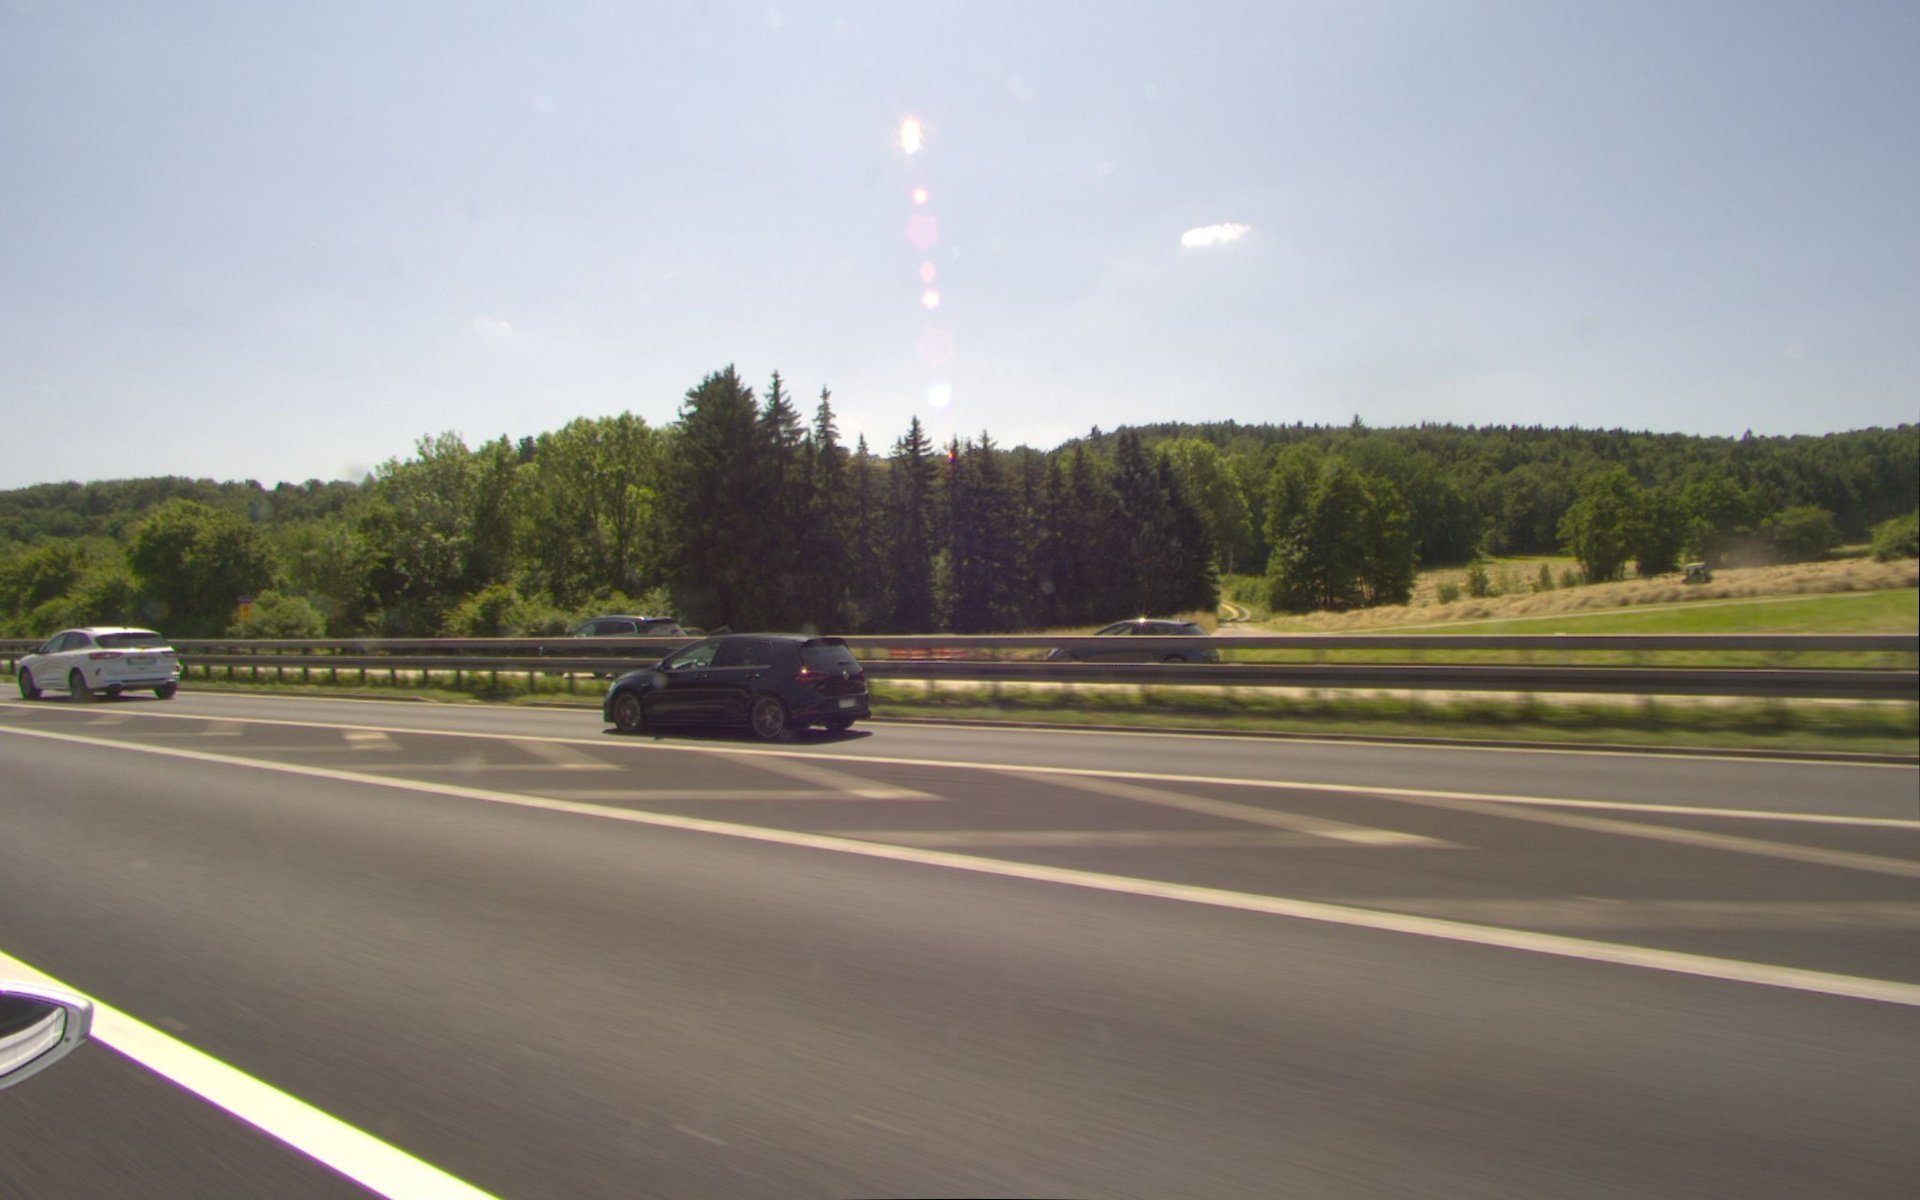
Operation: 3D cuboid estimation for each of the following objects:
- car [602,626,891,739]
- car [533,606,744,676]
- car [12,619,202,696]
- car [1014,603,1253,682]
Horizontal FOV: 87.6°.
[{"bbox_3d":[-3.131,1.133,14.593,3.905,1.453,1.793,-1,-2,28],"label":"car"},{"bbox_3d":[-8.525,1.091,26.433,5.538,1.683,1.993,-1,-2,27],"label":"car"},{"bbox_3d":[-20.296,1.331,23.818,4.399,1.683,1.993,-1,-2,28],"label":"car"},{"bbox_3d":[3.999,0.945,23.422,5.151,1.684,1.990,-1,0,31],"label":"car"}]
